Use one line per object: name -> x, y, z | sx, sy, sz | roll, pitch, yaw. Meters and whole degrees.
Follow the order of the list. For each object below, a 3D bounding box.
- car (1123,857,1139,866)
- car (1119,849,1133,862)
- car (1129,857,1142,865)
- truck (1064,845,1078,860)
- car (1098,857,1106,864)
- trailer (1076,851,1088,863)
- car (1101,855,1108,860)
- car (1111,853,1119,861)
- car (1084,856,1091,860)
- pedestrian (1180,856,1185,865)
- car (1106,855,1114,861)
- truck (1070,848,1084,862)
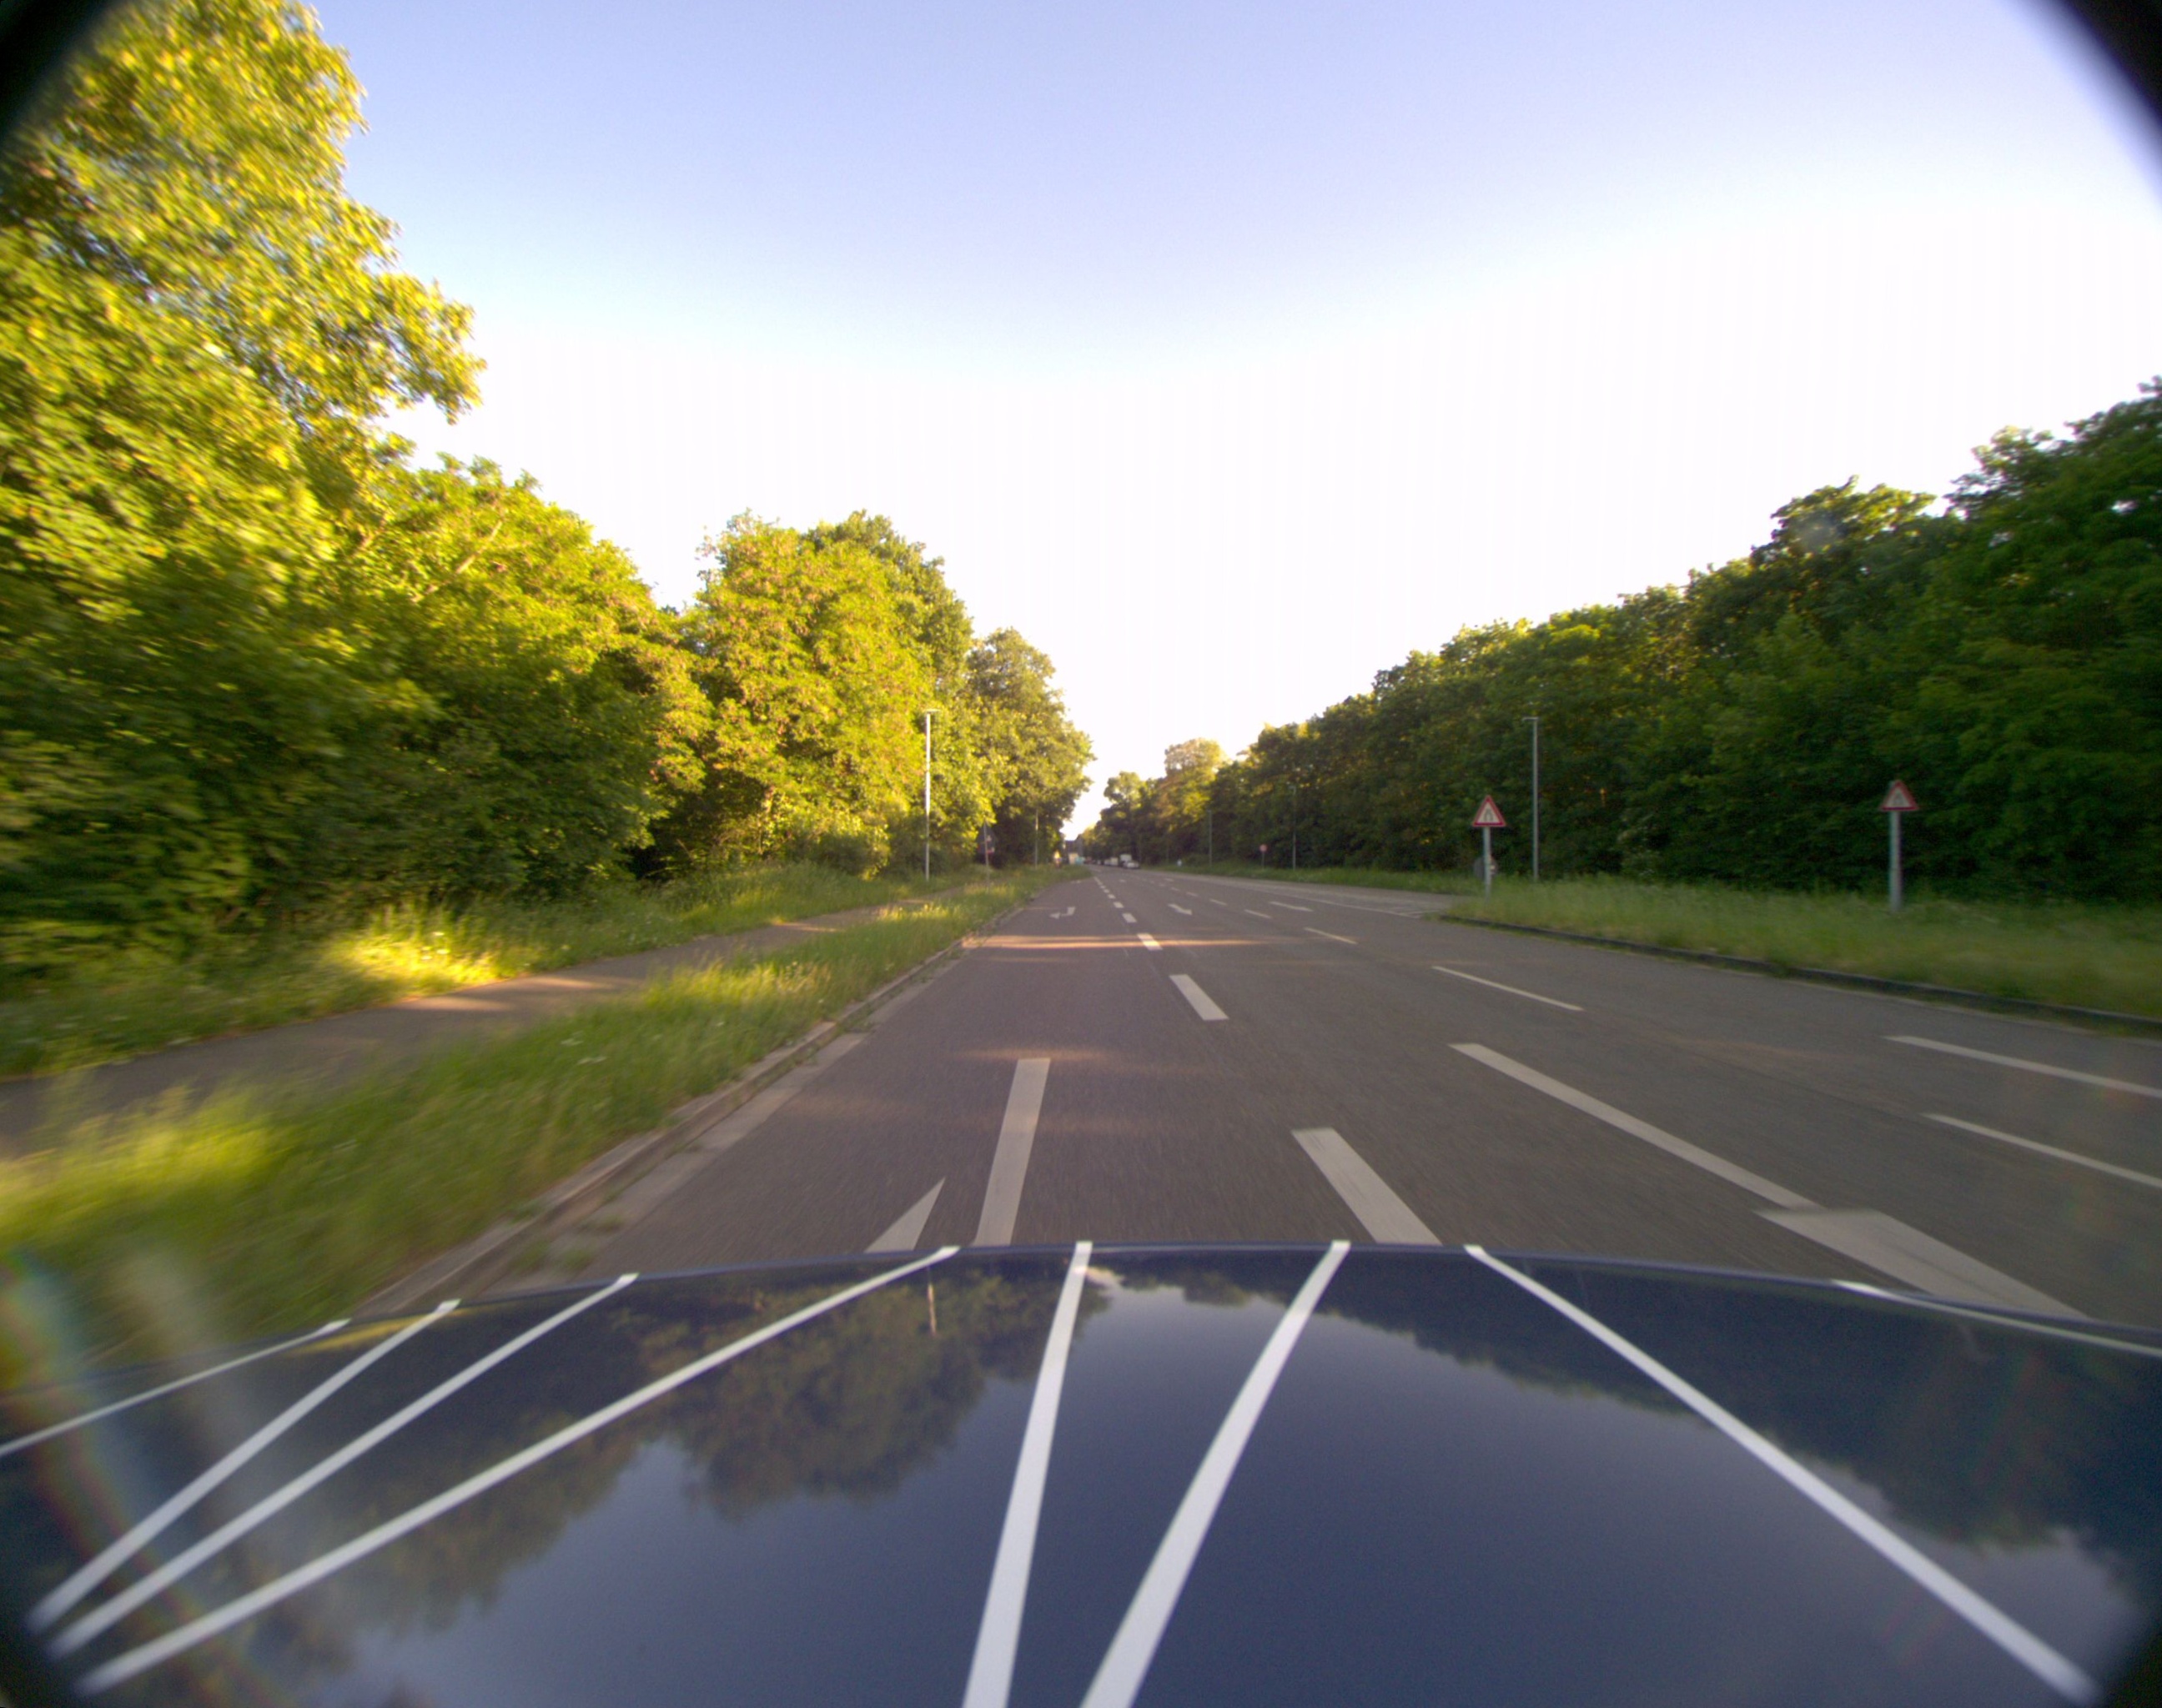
car -> 8.192, 1.204, 124.746 | 1.834, 1.446, 4.478 | 2, 0, -5
car -> 9.803, 0.298, 164.987 | 2.461, 2.830, 4.797 | 1, 0, -3
car -> 10.567, 1.330, 147.600 | 1.915, 1.455, 4.010 | 1, 0, -3
truck -> -2.212, -0.305, 169.122 | 2.706, 3.218, 7.126 | 1, 0, -3
car -> 6.536, 2.088, 236.590 | 1.999, 2.002, 3.999 | -1, 0, -3
trailer -> 0.200, 0.573, 142.555 | 1.870, 2.165, 4.127 | -1, 0, -3
car -> 6.972, 0.978, 225.051 | 1.807, 1.496, 3.911 | 1, 0, -3
car -> 8.764, 0.692, 196.771 | 1.692, 2.089, 4.631 | 1, 0, -3
car -> 2.090, 1.318, 254.587 | 1.915, 1.455, 4.356 | 1, 0, -3
pedestrian -> 16.478, 1.049, 123.500 | 0.713, 1.556, 0.826 | 1, 0, 0
car -> 7.859, 1.067, 209.301 | 1.807, 1.496, 3.911 | 1, 0, -3
truck -> -0.874, 0.211, 158.675 | 2.390, 2.855, 5.596 | -2, 1, -3
